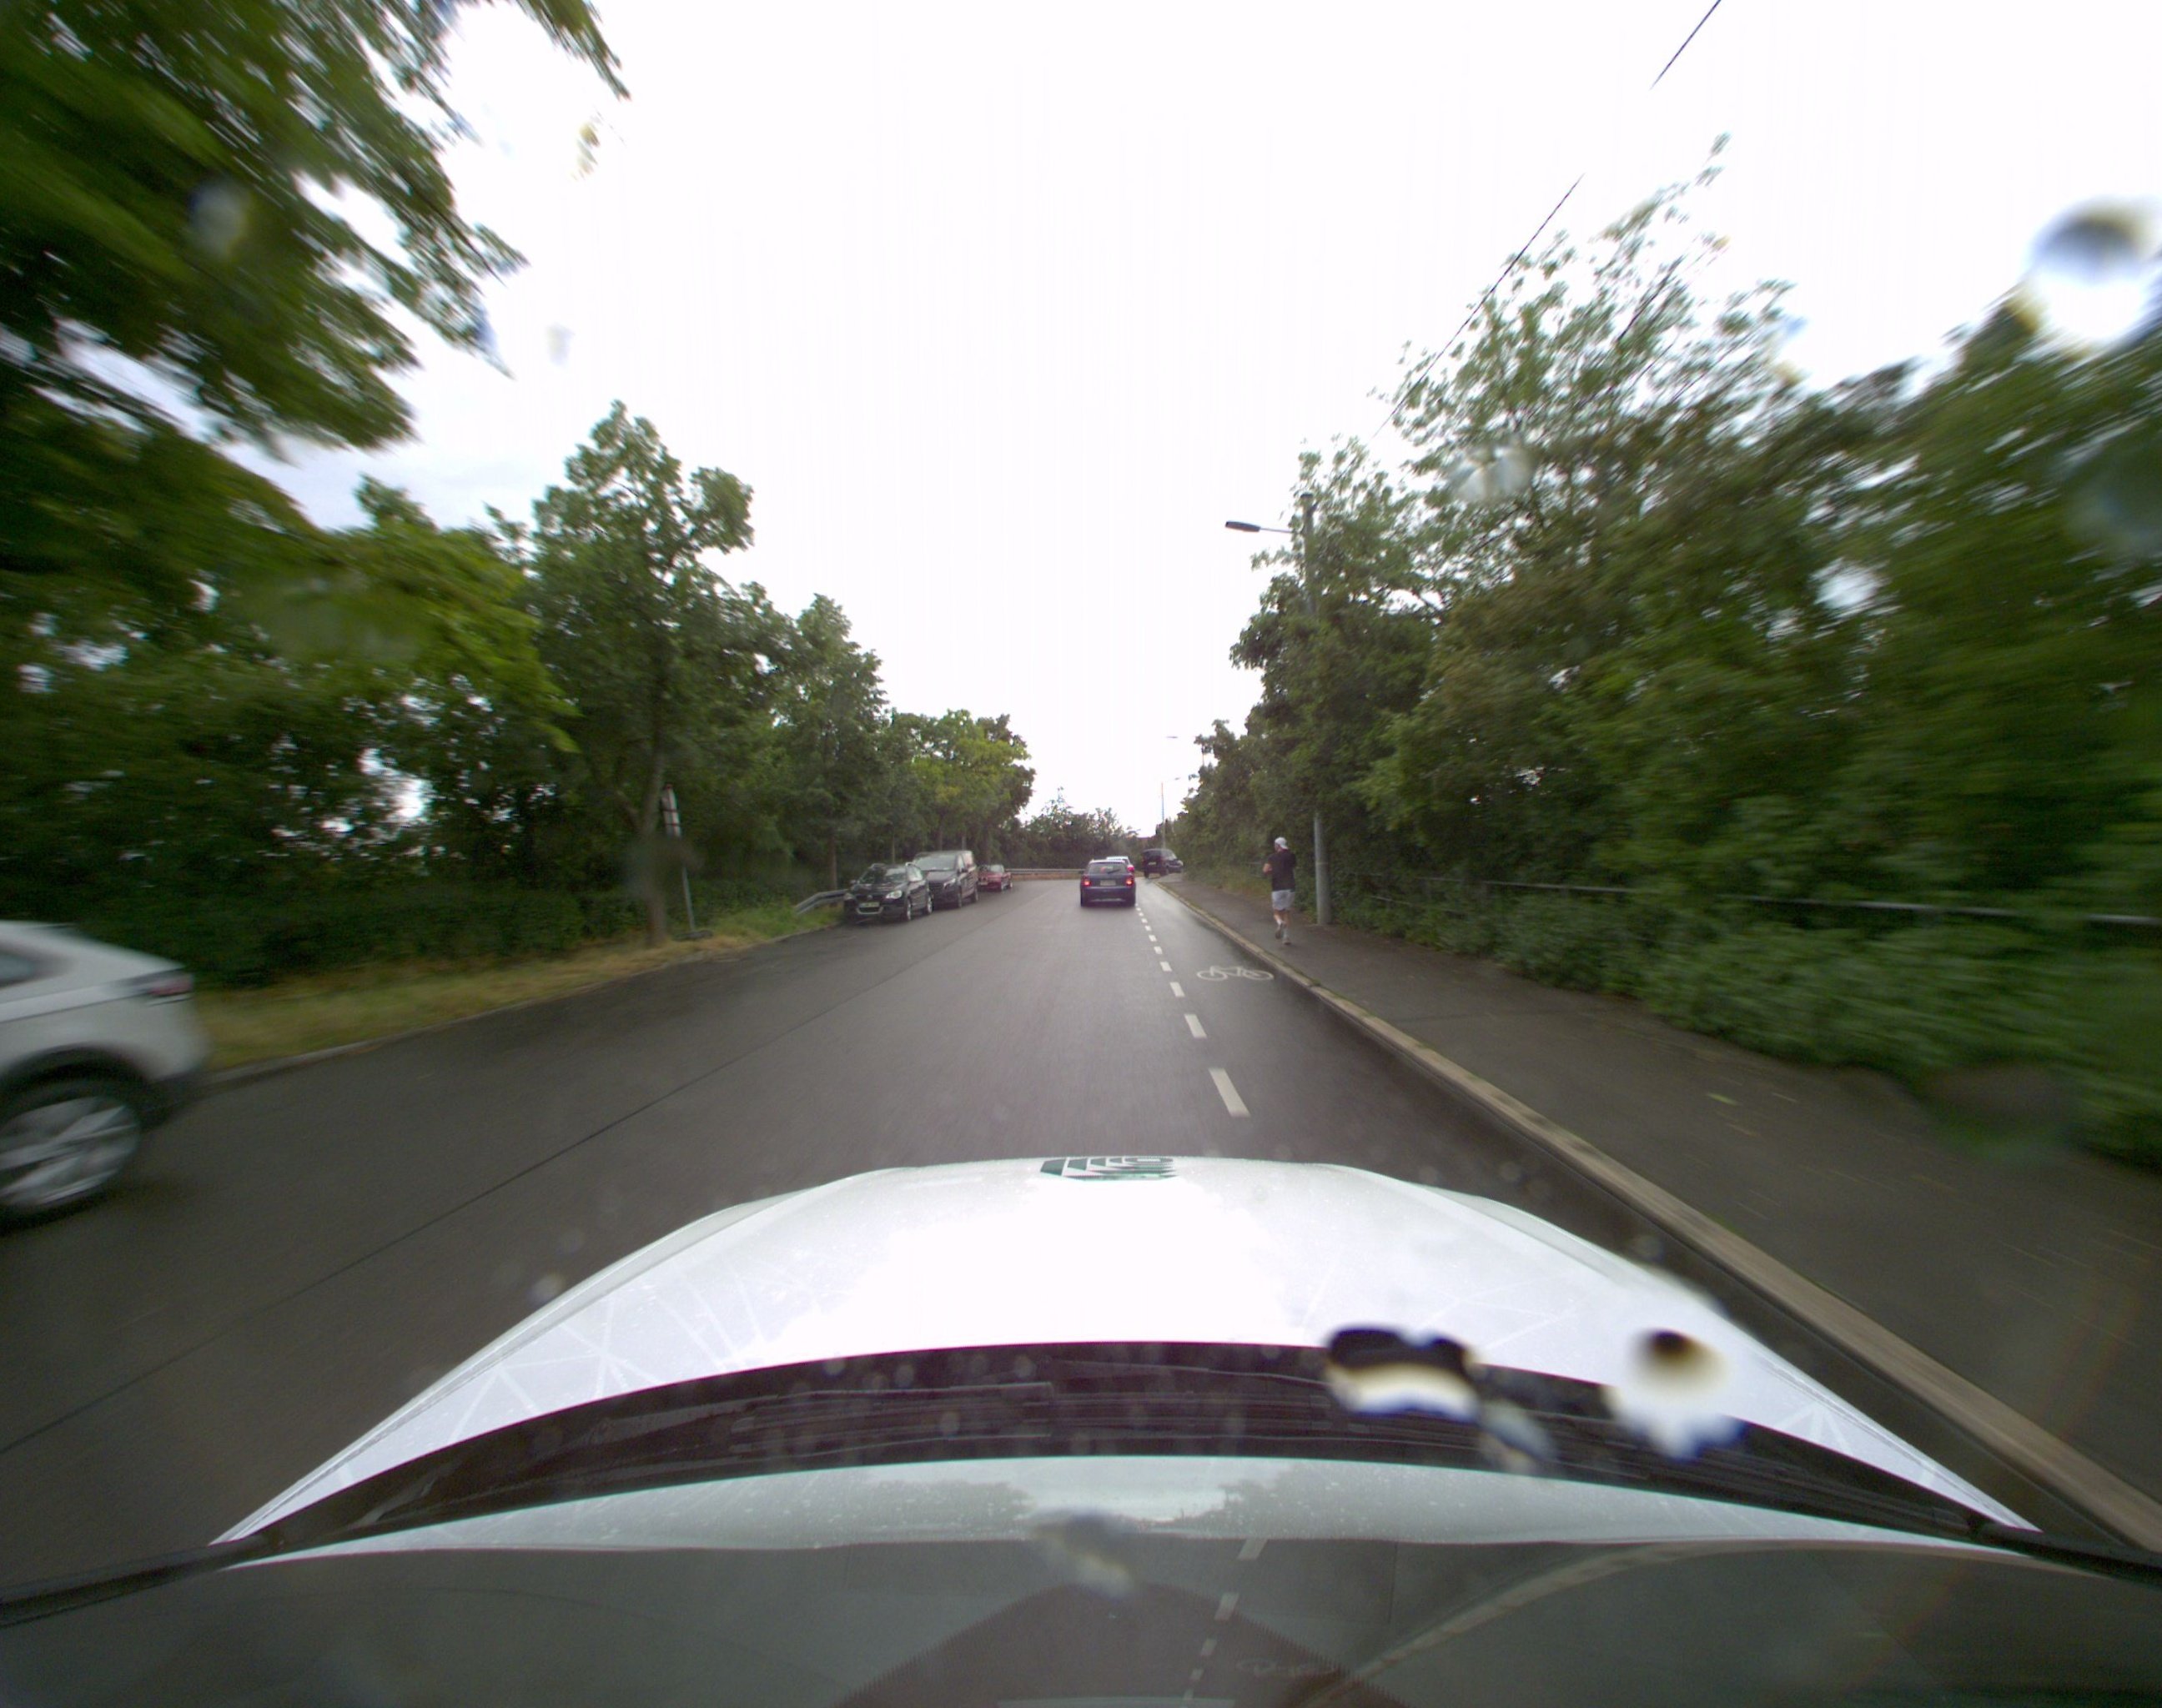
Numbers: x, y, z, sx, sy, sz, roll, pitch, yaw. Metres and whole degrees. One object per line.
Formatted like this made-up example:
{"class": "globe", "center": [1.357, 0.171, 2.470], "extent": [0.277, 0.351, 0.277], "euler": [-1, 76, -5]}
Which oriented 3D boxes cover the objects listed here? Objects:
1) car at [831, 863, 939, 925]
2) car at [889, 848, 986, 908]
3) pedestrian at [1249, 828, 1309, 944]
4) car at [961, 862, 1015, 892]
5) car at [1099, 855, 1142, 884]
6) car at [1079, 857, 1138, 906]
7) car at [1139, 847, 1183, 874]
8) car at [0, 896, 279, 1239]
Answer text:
{"class": "car", "center": [-5.245, 1.018, 22.401], "extent": [1.791, 1.437, 4.257], "euler": [-3, -1, 1]}
{"class": "car", "center": [-4.849, 0.780, 28.370], "extent": [2.075, 1.819, 5.384], "euler": [-3, -1, 3]}
{"class": "pedestrian", "center": [3.308, 0.515, 13.699], "extent": [0.713, 1.835, 1.022], "euler": [-4, 0, 4]}
{"class": "car", "center": [-4.425, 1.074, 39.402], "extent": [1.781, 1.297, 4.330], "euler": [-3, -1, 4]}
{"class": "car", "center": [2.115, 0.790, 42.424], "extent": [1.880, 1.389, 4.008], "euler": [-2, -1, 7]}
{"class": "car", "center": [0.837, 0.831, 26.501], "extent": [1.742, 1.407, 3.999], "euler": [-1, 0, 0]}
{"class": "car", "center": [5.348, 0.415, 54.282], "extent": [1.806, 1.617, 3.806], "euler": [-3, -1, 22]}
{"class": "car", "center": [-5.651, 1.011, 2.611], "extent": [1.681, 1.437, 4.261], "euler": [-4, -1, 4]}
